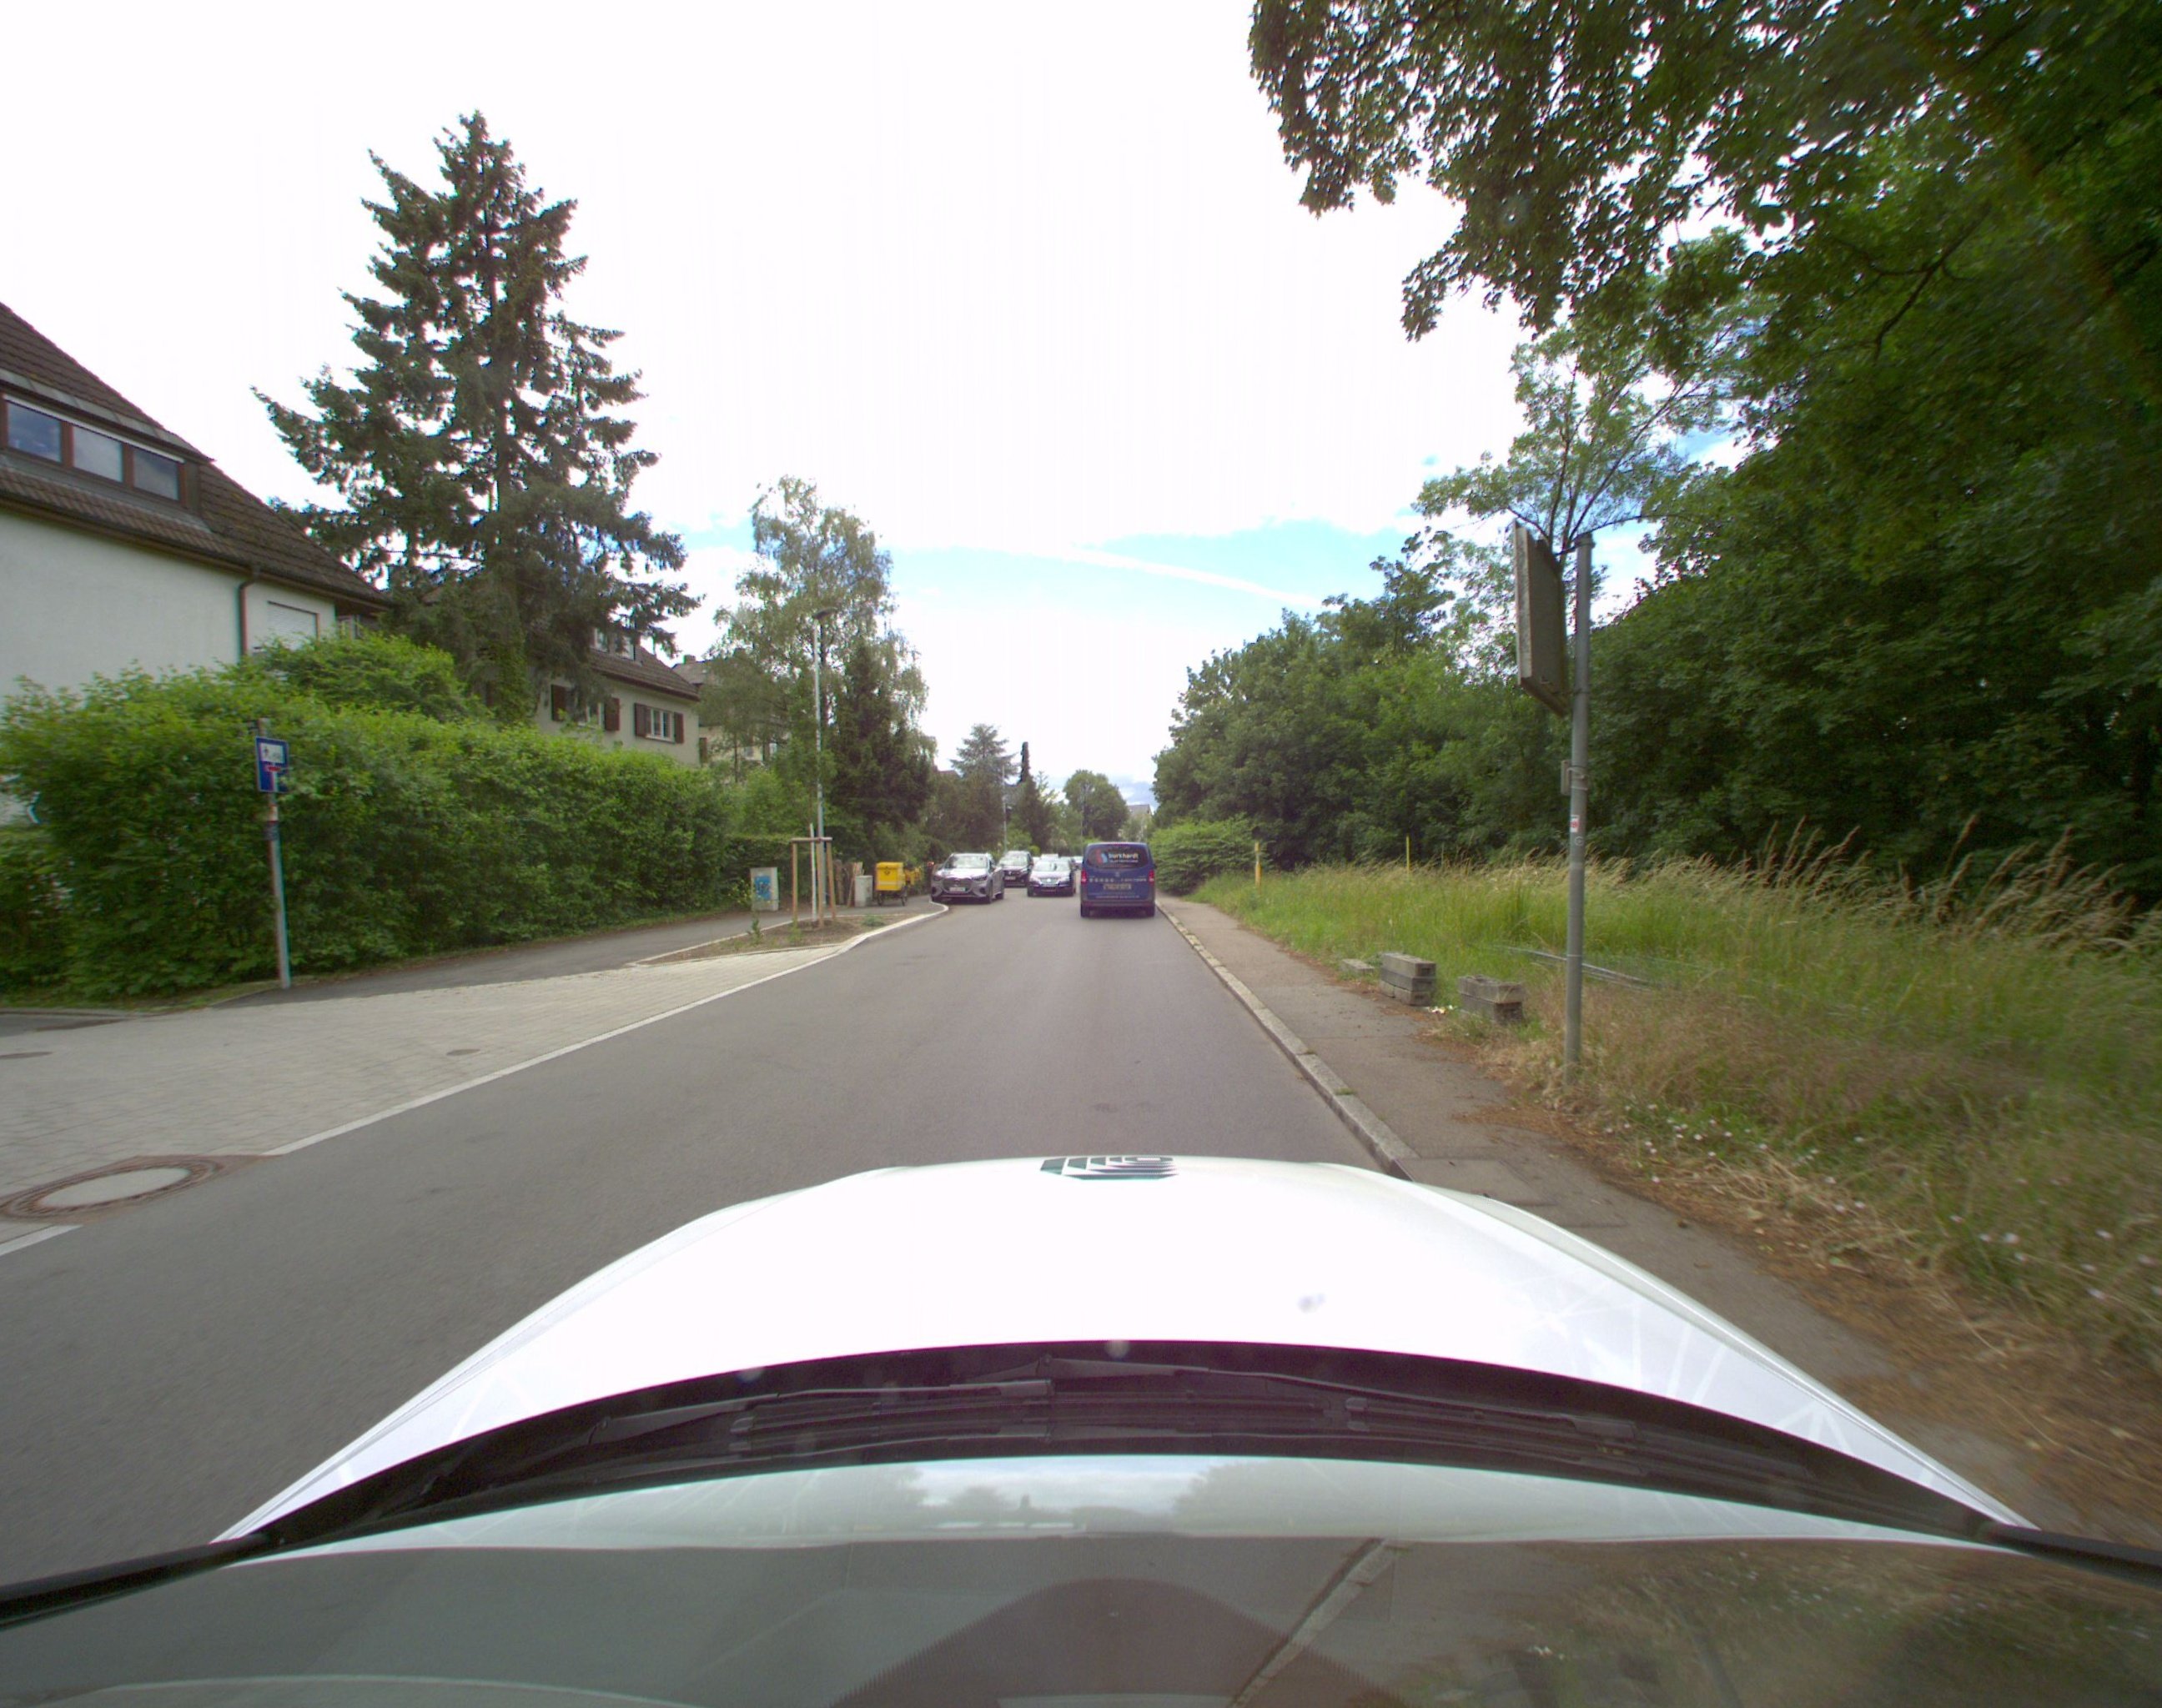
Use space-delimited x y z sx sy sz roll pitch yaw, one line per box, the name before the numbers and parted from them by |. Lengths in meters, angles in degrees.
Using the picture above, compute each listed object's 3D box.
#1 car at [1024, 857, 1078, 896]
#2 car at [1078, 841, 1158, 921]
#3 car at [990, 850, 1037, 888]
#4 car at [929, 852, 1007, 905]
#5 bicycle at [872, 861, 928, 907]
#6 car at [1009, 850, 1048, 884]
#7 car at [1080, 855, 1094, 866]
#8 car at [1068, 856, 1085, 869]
car | -1.104 0.848 32.136 1.812 1.443 4.002 0 0 2
car | 0.914 0.614 21.491 1.882 1.844 4.000 -1 1 0
car | -3.287 0.702 40.197 1.824 1.751 4.003 0 0 2
car | -3.688 0.755 27.295 1.829 1.631 4.303 0 0 2
bicycle | -5.375 0.859 24.394 0.902 1.252 2.917 1 0 2
car | -2.948 0.741 46.361 1.825 1.804 4.000 -1 -1 1
car | 0.864 0.949 116.615 1.921 1.413 3.966 0 1 2
car | -0.541 1.050 98.004 1.921 1.413 3.966 0 1 2
